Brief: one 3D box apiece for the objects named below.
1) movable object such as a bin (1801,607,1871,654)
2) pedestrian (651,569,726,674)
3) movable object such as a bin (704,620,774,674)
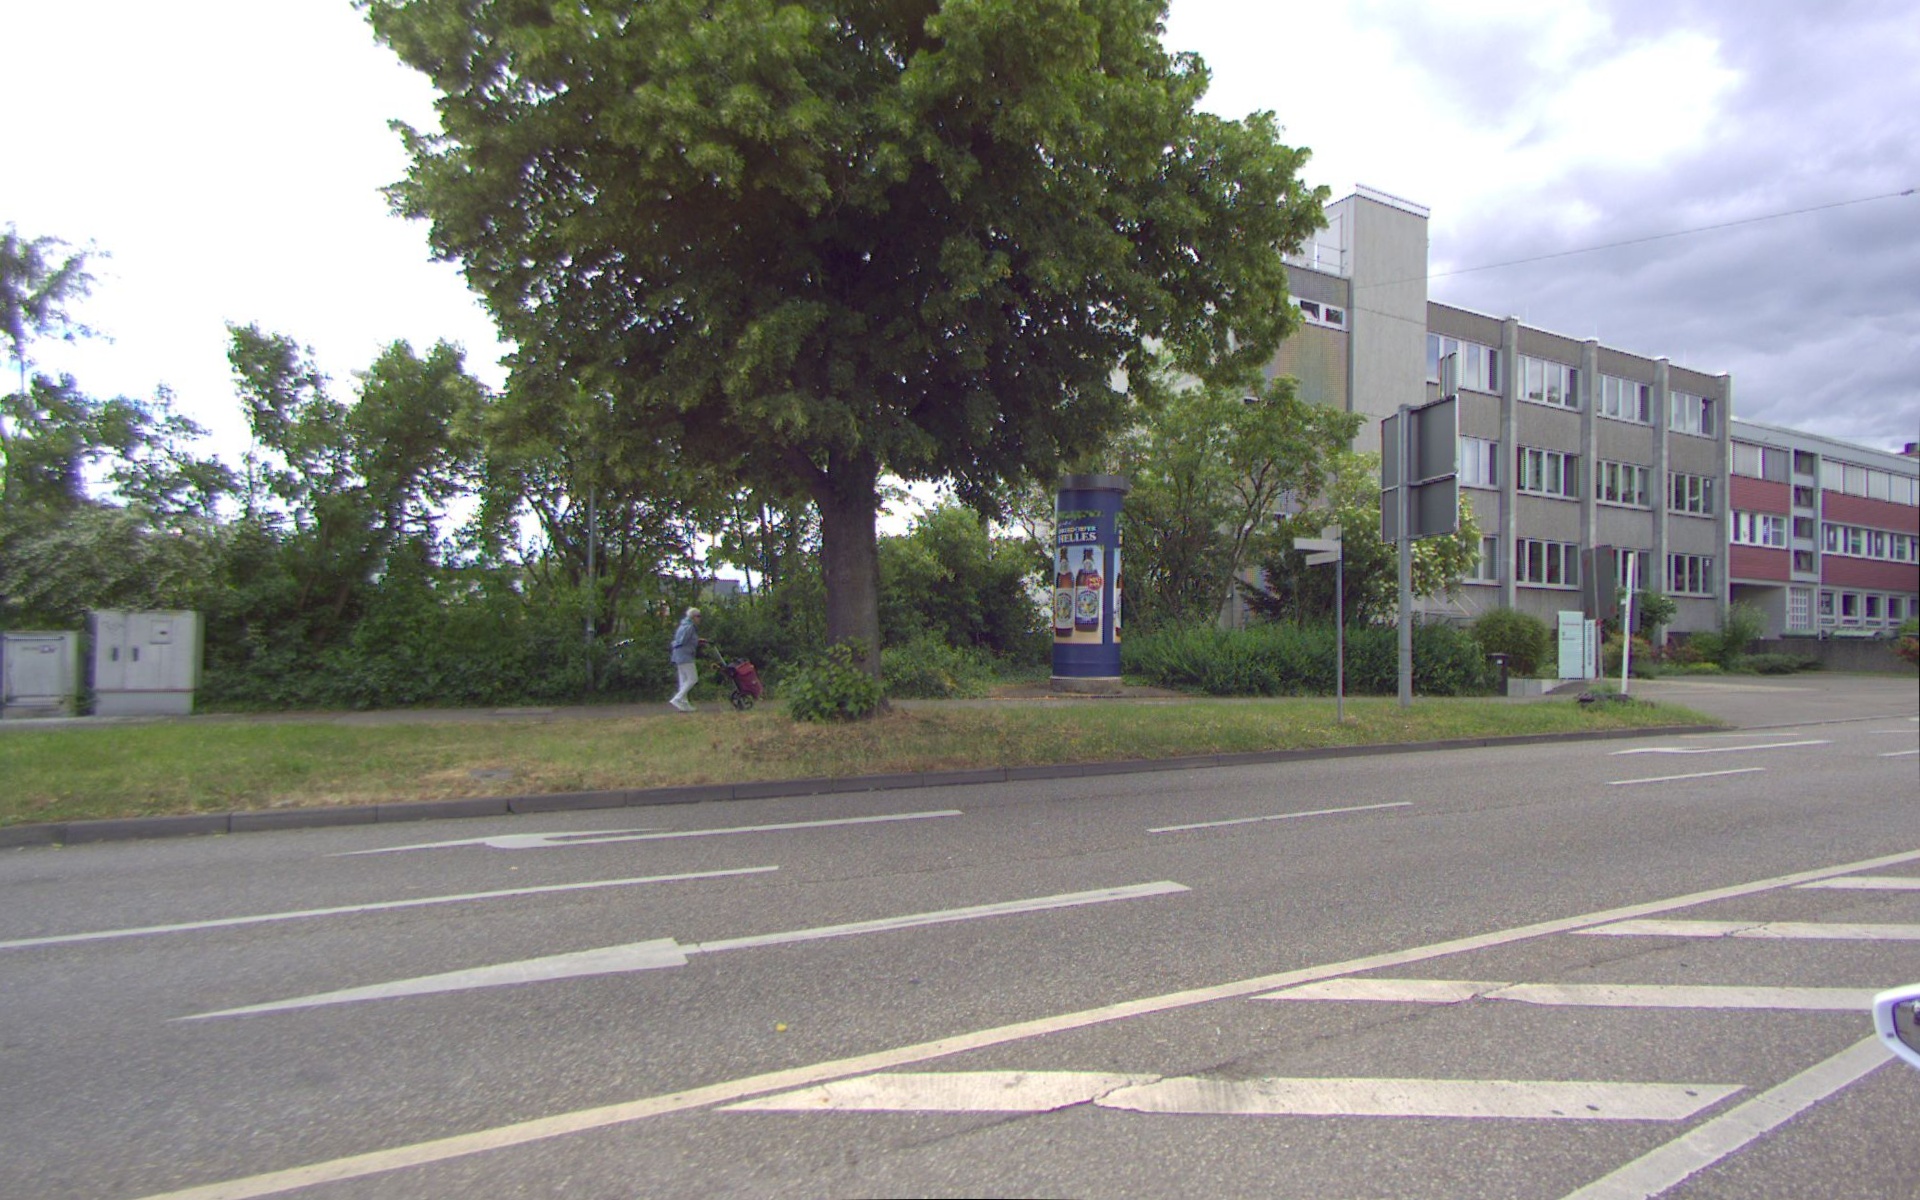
[{"bbox_3d":[39.569,1.377,45.380,1.524,2.040,1.984,2,-1,-30],"label":"movable object such as a bin"},{"bbox_3d":[-4.123,0.335,15.255,0.913,1.542,0.652,2,-1,-32],"label":"pedestrian"},{"bbox_3d":[-3.446,0.729,15.674,0.887,0.809,0.652,2,-1,-32],"label":"movable object such as a bin"}]
